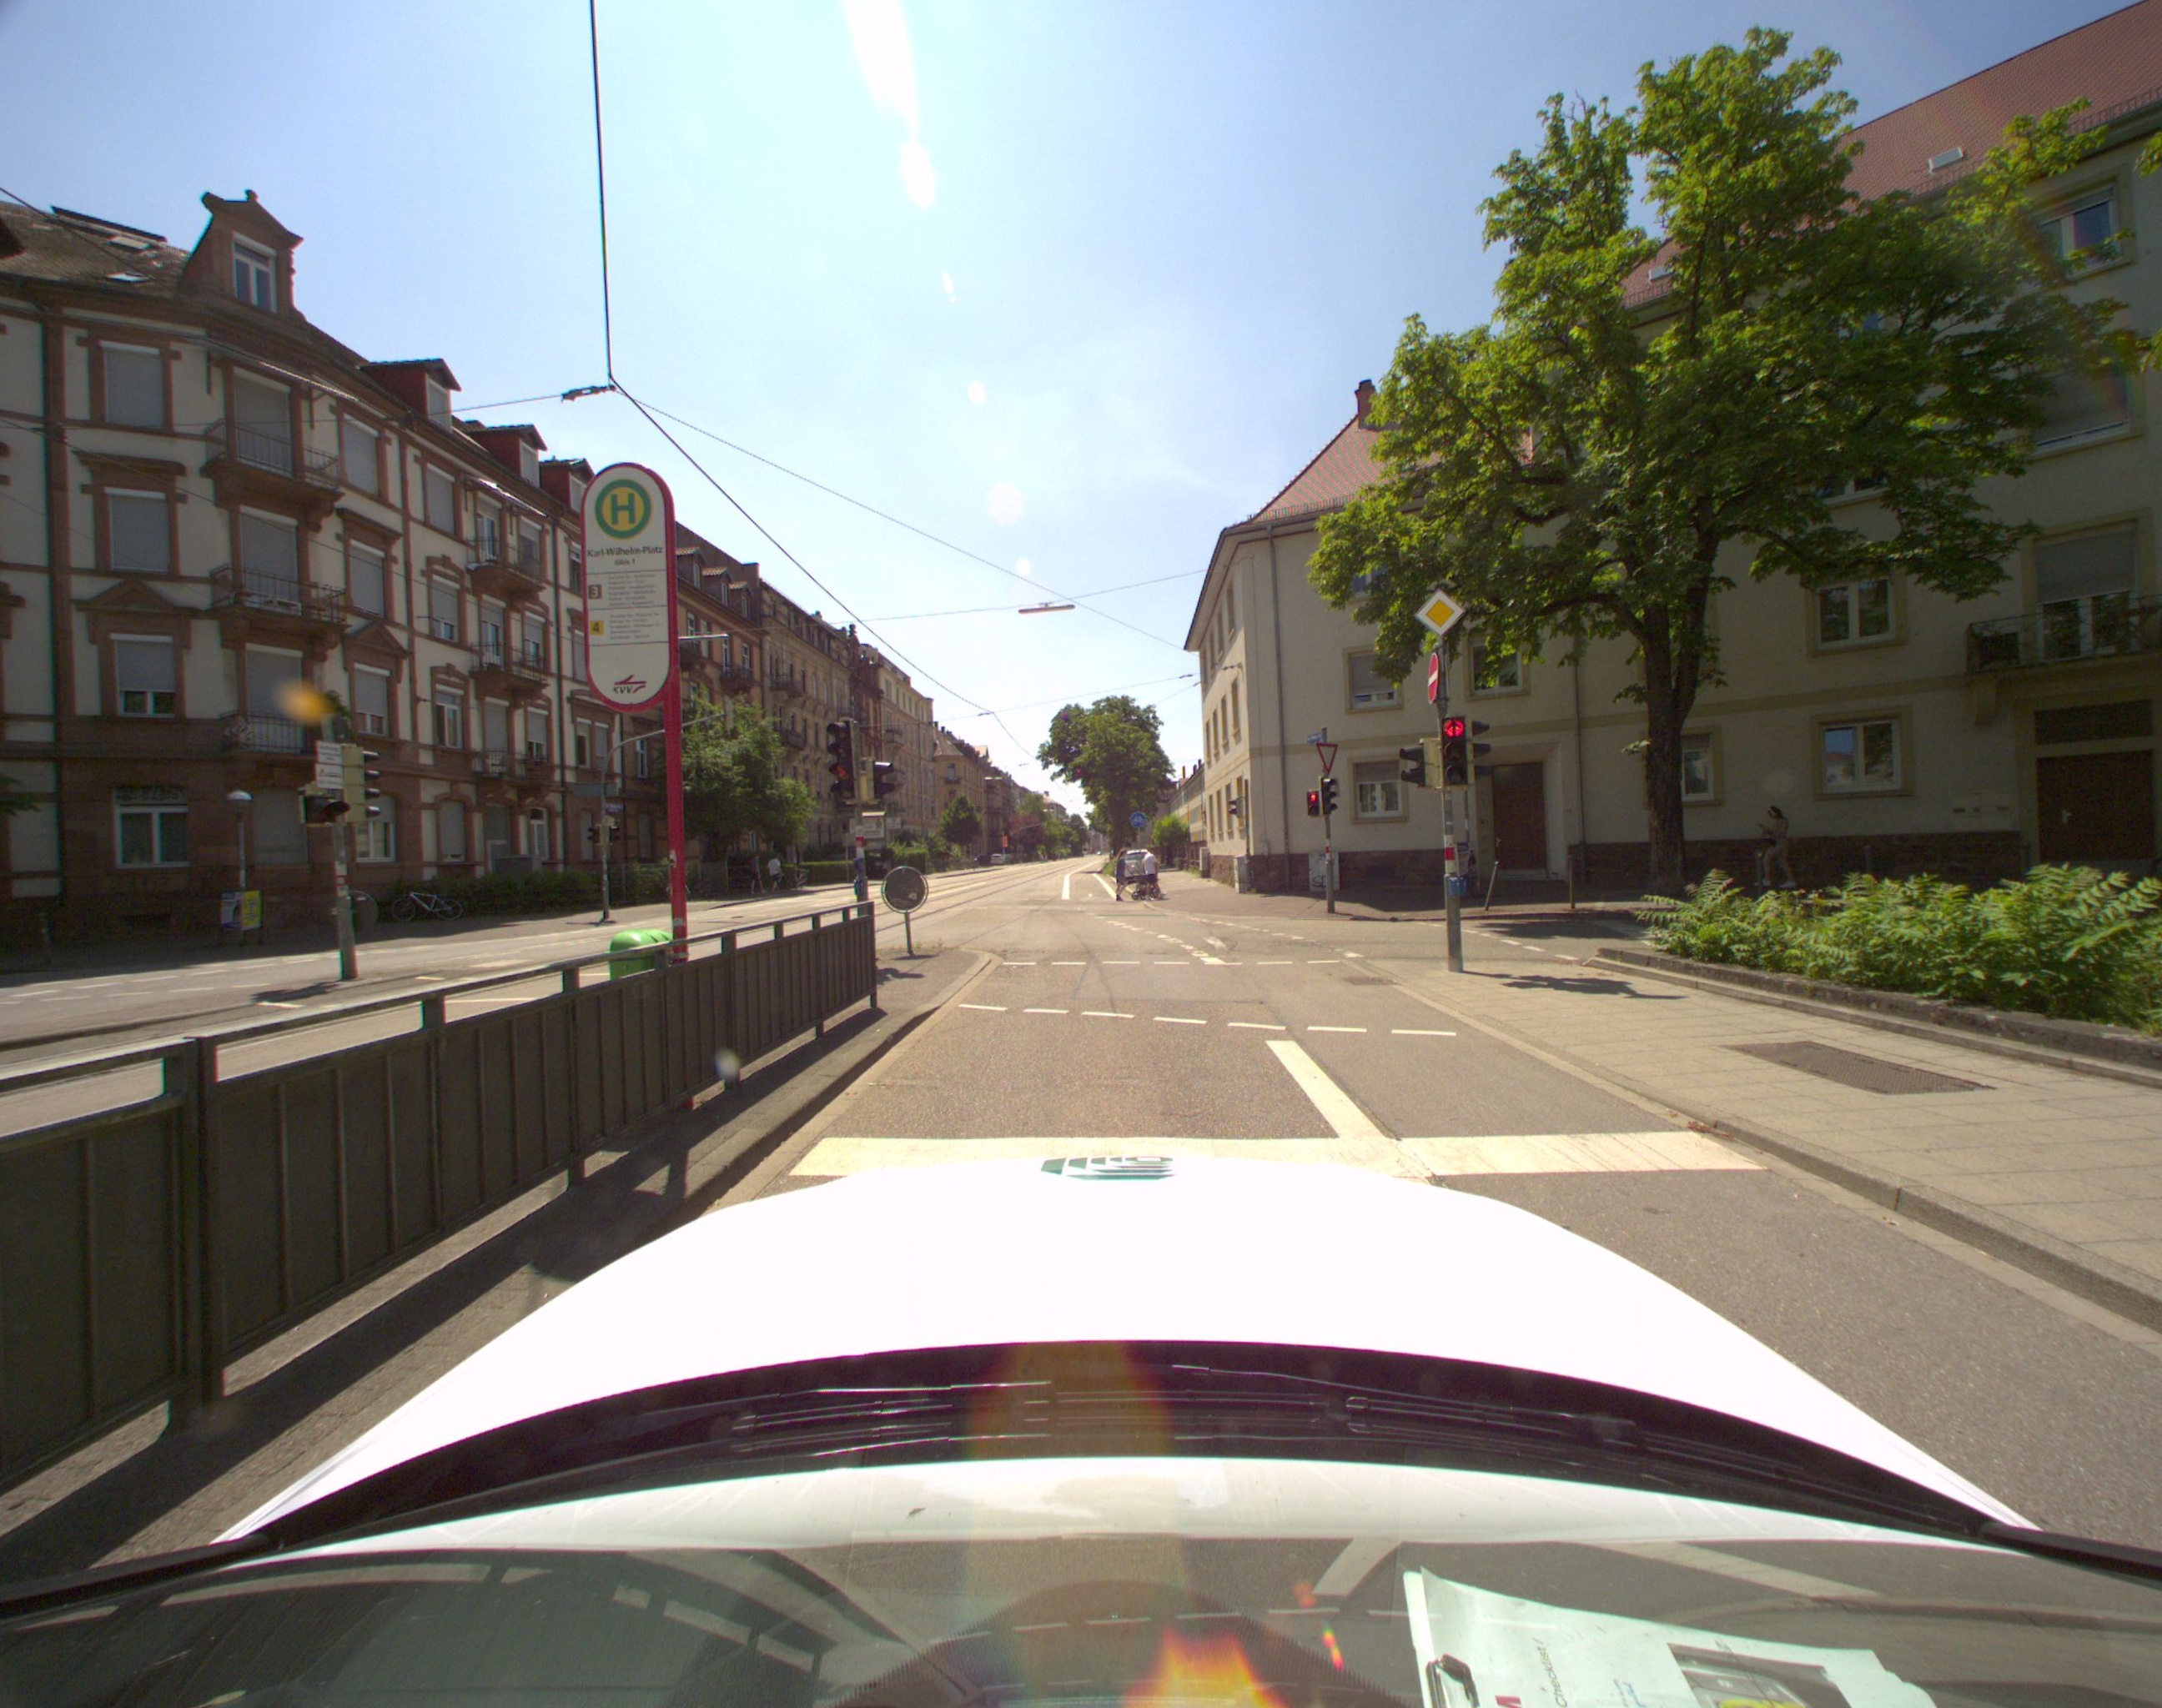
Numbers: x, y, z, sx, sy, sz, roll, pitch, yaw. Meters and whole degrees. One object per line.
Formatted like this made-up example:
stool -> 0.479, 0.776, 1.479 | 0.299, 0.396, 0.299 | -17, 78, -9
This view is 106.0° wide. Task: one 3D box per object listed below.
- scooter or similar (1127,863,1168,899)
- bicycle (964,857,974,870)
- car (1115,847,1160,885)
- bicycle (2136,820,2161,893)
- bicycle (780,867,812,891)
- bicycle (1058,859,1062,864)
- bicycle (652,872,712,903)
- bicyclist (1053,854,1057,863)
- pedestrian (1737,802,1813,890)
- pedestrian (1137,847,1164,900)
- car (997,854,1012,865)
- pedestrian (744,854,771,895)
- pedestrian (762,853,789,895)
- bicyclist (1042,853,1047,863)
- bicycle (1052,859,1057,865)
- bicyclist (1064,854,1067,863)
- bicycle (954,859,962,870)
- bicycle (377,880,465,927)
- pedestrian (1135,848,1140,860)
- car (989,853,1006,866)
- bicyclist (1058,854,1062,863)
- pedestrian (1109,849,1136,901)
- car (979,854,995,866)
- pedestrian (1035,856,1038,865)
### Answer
scooter or similar -> 2.159, 0.862, 26.531 | 1.207, 1.155, 0.554 | 0, -1, -24
bicycle -> -11.712, 0.957, 85.137 | 0.675, 1.278, 1.918 | -2, 0, -1
car -> 2.524, 0.531, 37.416 | 1.808, 1.516, 4.001 | -4, -1, 2
bicycle -> 17.009, 0.020, 12.086 | 0.527, 1.104, 1.589 | -2, 0, -34
bicycle -> -14.400, 1.255, 41.257 | 0.936, 1.136, 2.767 | 0, -1, -7
bicycle -> -4.569, 1.706, 178.412 | 0.724, 1.123, 2.087 | 0, -1, 4
bicycle -> -15.671, 1.301, 32.083 | 0.934, 1.136, 2.774 | 0, -1, 1
bicyclist -> -5.089, 0.873, 157.923 | 0.724, 1.768, 1.080 | 0, -1, 3
pedestrian -> 14.334, -0.166, 16.842 | 1.043, 1.690, 0.658 | -5, 3, 38
pedestrian -> 2.206, 0.601, 25.743 | 0.677, 1.645, 0.554 | 0, -1, -21
car -> -11.663, 0.874, 124.330 | 1.912, 1.715, 4.001 | 0, -1, 2
pedestrian -> -14.515, 0.908, 36.594 | 0.812, 1.822, 0.874 | 0, 1, 4
pedestrian -> -13.739, 0.897, 36.643 | 0.812, 1.822, 0.874 | 0, 1, 4
bicyclist -> -6.236, 0.656, 137.586 | 0.724, 1.629, 1.080 | 0, -1, 3
bicycle -> -5.081, 1.525, 157.933 | 0.724, 1.123, 2.087 | 0, -1, 4
bicyclist -> -3.411, 0.976, 178.188 | 0.724, 1.818, 1.080 | 0, -1, 3
bicycle -> -12.156, 1.030, 80.500 | 0.677, 1.064, 1.912 | -2, 0, -9
bicycle -> -19.556, 1.439, 24.161 | 0.557, 1.294, 1.975 | -1, -1, 43
pedestrian -> 7.490, -0.049, 107.858 | 0.519, 1.562, 0.573 | -2, 0, 1
car -> -11.884, 0.810, 116.066 | 1.912, 1.715, 4.001 | 0, -1, 2
bicyclist -> -4.567, 1.020, 178.431 | 0.724, 1.818, 1.080 | 0, -1, 3
pedestrian -> 1.334, 0.681, 26.179 | 0.677, 1.645, 0.554 | 0, -1, -21
car -> -14.336, 0.896, 124.468 | 1.912, 1.715, 4.001 | 0, -1, 2
pedestrian -> -7.983, 1.171, 146.929 | 0.404, 1.461, 0.436 | -2, 0, 1
